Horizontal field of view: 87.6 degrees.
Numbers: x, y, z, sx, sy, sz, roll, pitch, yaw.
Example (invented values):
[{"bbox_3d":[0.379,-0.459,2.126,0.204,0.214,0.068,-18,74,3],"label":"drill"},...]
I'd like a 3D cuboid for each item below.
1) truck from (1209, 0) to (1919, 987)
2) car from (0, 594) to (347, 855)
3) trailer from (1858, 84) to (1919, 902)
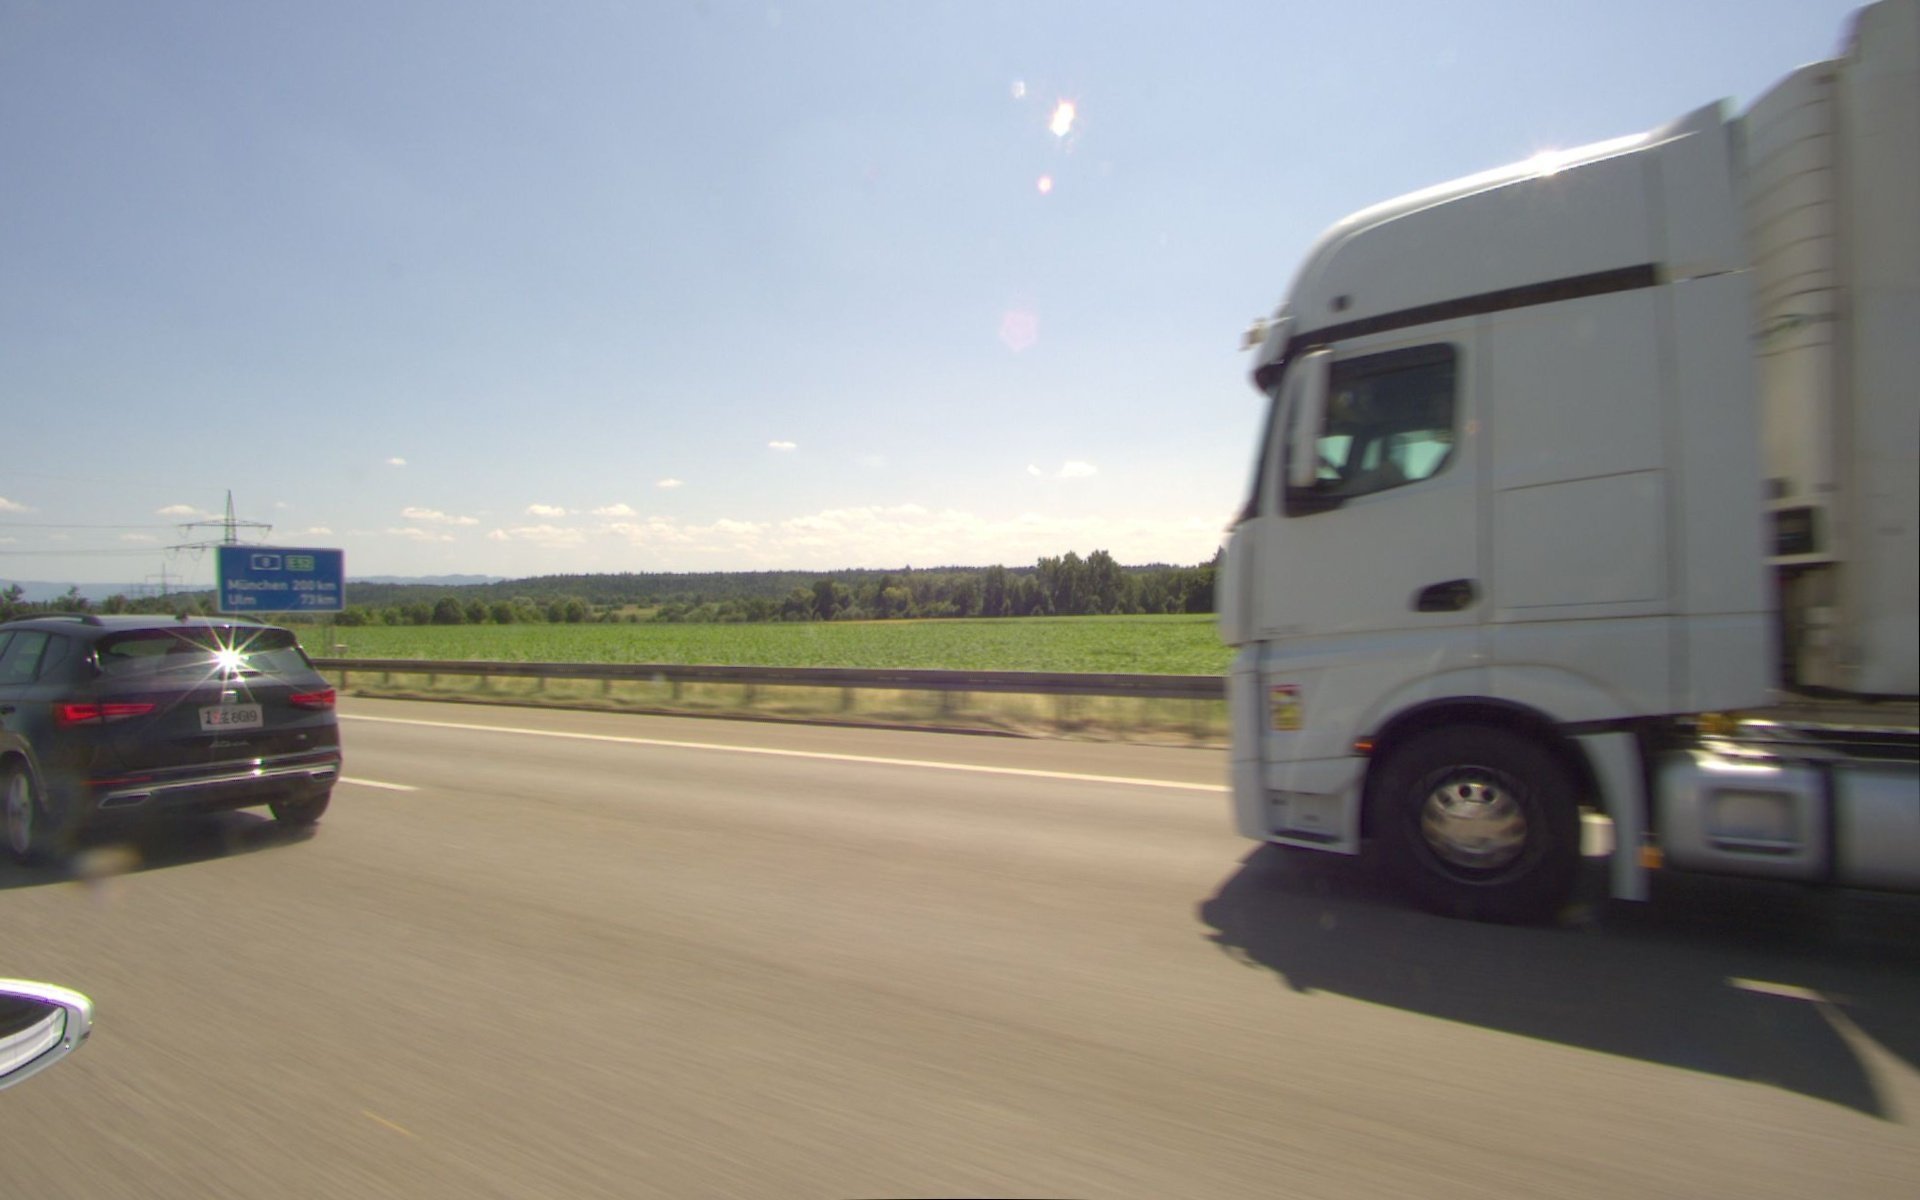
[{"bbox_3d":[4.992,-0.497,4.972,6.779,4.143,2.859,-1,-2,31],"label":"truck"},{"bbox_3d":[-6.713,0.813,7.853,3.769,1.582,1.793,-1,-2,33],"label":"car"},{"bbox_3d":[10.449,-0.661,1.548,13.103,4.274,2.863,-1,-2,32],"label":"trailer"}]
